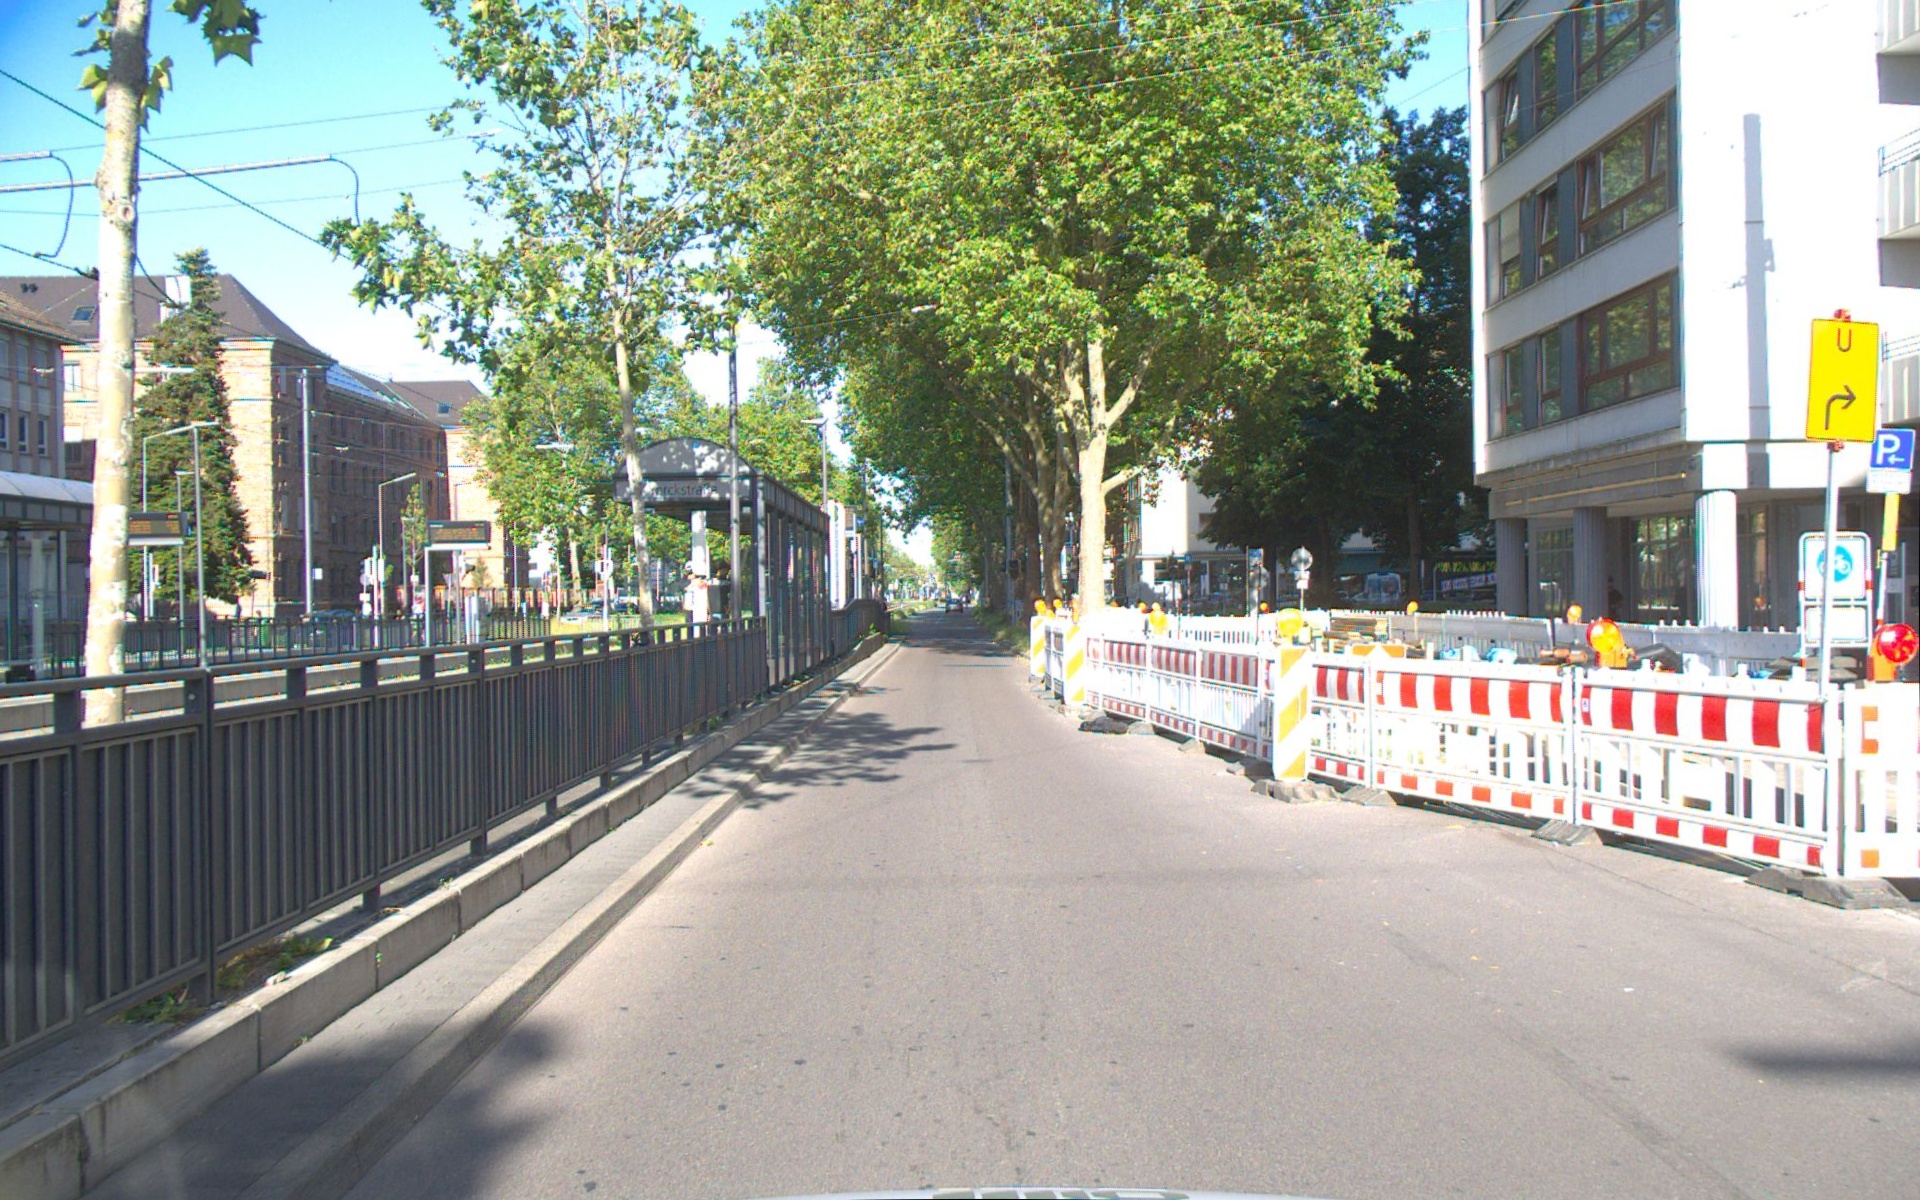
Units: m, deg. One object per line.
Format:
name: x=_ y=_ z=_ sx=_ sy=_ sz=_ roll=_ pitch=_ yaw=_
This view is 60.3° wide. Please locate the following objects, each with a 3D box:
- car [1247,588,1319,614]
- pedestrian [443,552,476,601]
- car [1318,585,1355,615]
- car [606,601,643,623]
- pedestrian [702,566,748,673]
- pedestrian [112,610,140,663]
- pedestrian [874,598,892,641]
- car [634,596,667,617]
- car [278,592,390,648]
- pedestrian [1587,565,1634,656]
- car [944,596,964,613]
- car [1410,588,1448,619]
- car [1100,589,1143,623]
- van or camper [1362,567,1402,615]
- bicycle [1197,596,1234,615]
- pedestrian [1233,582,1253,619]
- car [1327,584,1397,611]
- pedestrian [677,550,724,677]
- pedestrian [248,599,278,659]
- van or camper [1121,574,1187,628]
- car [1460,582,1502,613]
car: x=20.997 y=0.053 z=107.502 sx=4.489 sy=1.608 sz=2.002 roll=-1 pitch=0 yaw=15
pedestrian: x=-18.373 y=-0.849 z=60.713 sx=0.933 sy=1.766 sz=0.730 roll=-1 pitch=0 yaw=2
car: x=21.855 y=-0.028 z=96.008 sx=1.951 sy=1.656 sz=4.393 roll=-1 pitch=0 yaw=14
car: x=-26.806 y=0.936 z=132.197 sx=1.952 sy=1.678 sz=4.827 roll=-1 pitch=1 yaw=0
pedestrian: x=-4.052 y=0.330 z=28.536 sx=0.668 sy=1.815 sz=0.754 roll=0 pitch=0 yaw=1
pedestrian: x=-29.616 y=1.281 z=58.732 sx=0.678 sy=1.869 sz=0.573 roll=-1 pitch=0 yaw=-1
pedestrian: x=-3.086 y=0.780 z=66.161 sx=0.697 sy=1.710 sz=0.772 roll=-1 pitch=0 yaw=-2
car: x=-26.681 y=0.546 z=142.853 sx=1.731 sy=1.749 sz=4.422 roll=-1 pitch=0 yaw=4
car: x=-20.830 y=0.636 z=55.194 sx=1.952 sy=1.737 sz=4.151 roll=-1 pitch=0 yaw=3
pedestrian: x=13.348 y=0.213 z=33.951 sx=0.676 sy=1.847 sz=0.665 roll=-1 pitch=0 yaw=-1
car: x=-0.627 y=0.466 z=166.477 sx=1.980 sy=1.691 sz=3.999 roll=-1 pitch=0 yaw=-1
car: x=26.907 y=0.175 z=94.931 sx=1.951 sy=1.698 sz=4.749 roll=-1 pitch=0 yaw=14
car: x=8.794 y=0.313 z=90.257 sx=1.782 sy=1.772 sz=5.167 roll=-1 pitch=0 yaw=0
van or camper: x=24.411 y=-0.523 z=95.548 sx=2.101 sy=2.682 sz=5.592 roll=-1 pitch=0 yaw=15
bicycle: x=15.247 y=0.341 z=98.689 sx=2.096 sy=1.123 sz=0.508 roll=-1 pitch=0 yaw=25
pedestrian: x=12.791 y=0.020 z=74.785 sx=0.717 sy=1.644 sz=1.035 roll=-1 pitch=0 yaw=0
car: x=25.788 y=-0.170 z=106.058 sx=4.288 sy=1.673 sz=2.001 roll=-1 pitch=0 yaw=16
pedestrian: x=-4.251 y=0.217 z=27.104 sx=0.654 sy=2.049 sz=0.716 roll=0 pitch=0 yaw=-2
pedestrian: x=-24.394 y=1.012 z=57.891 sx=0.649 sy=2.049 sz=0.860 roll=-1 pitch=0 yaw=-1
van or camper: x=8.699 y=0.034 z=74.719 sx=2.244 sy=2.326 sz=5.822 roll=-1 pitch=0 yaw=-1
car: x=29.704 y=-0.157 z=94.377 sx=1.951 sy=1.698 sz=4.749 roll=-1 pitch=0 yaw=14
